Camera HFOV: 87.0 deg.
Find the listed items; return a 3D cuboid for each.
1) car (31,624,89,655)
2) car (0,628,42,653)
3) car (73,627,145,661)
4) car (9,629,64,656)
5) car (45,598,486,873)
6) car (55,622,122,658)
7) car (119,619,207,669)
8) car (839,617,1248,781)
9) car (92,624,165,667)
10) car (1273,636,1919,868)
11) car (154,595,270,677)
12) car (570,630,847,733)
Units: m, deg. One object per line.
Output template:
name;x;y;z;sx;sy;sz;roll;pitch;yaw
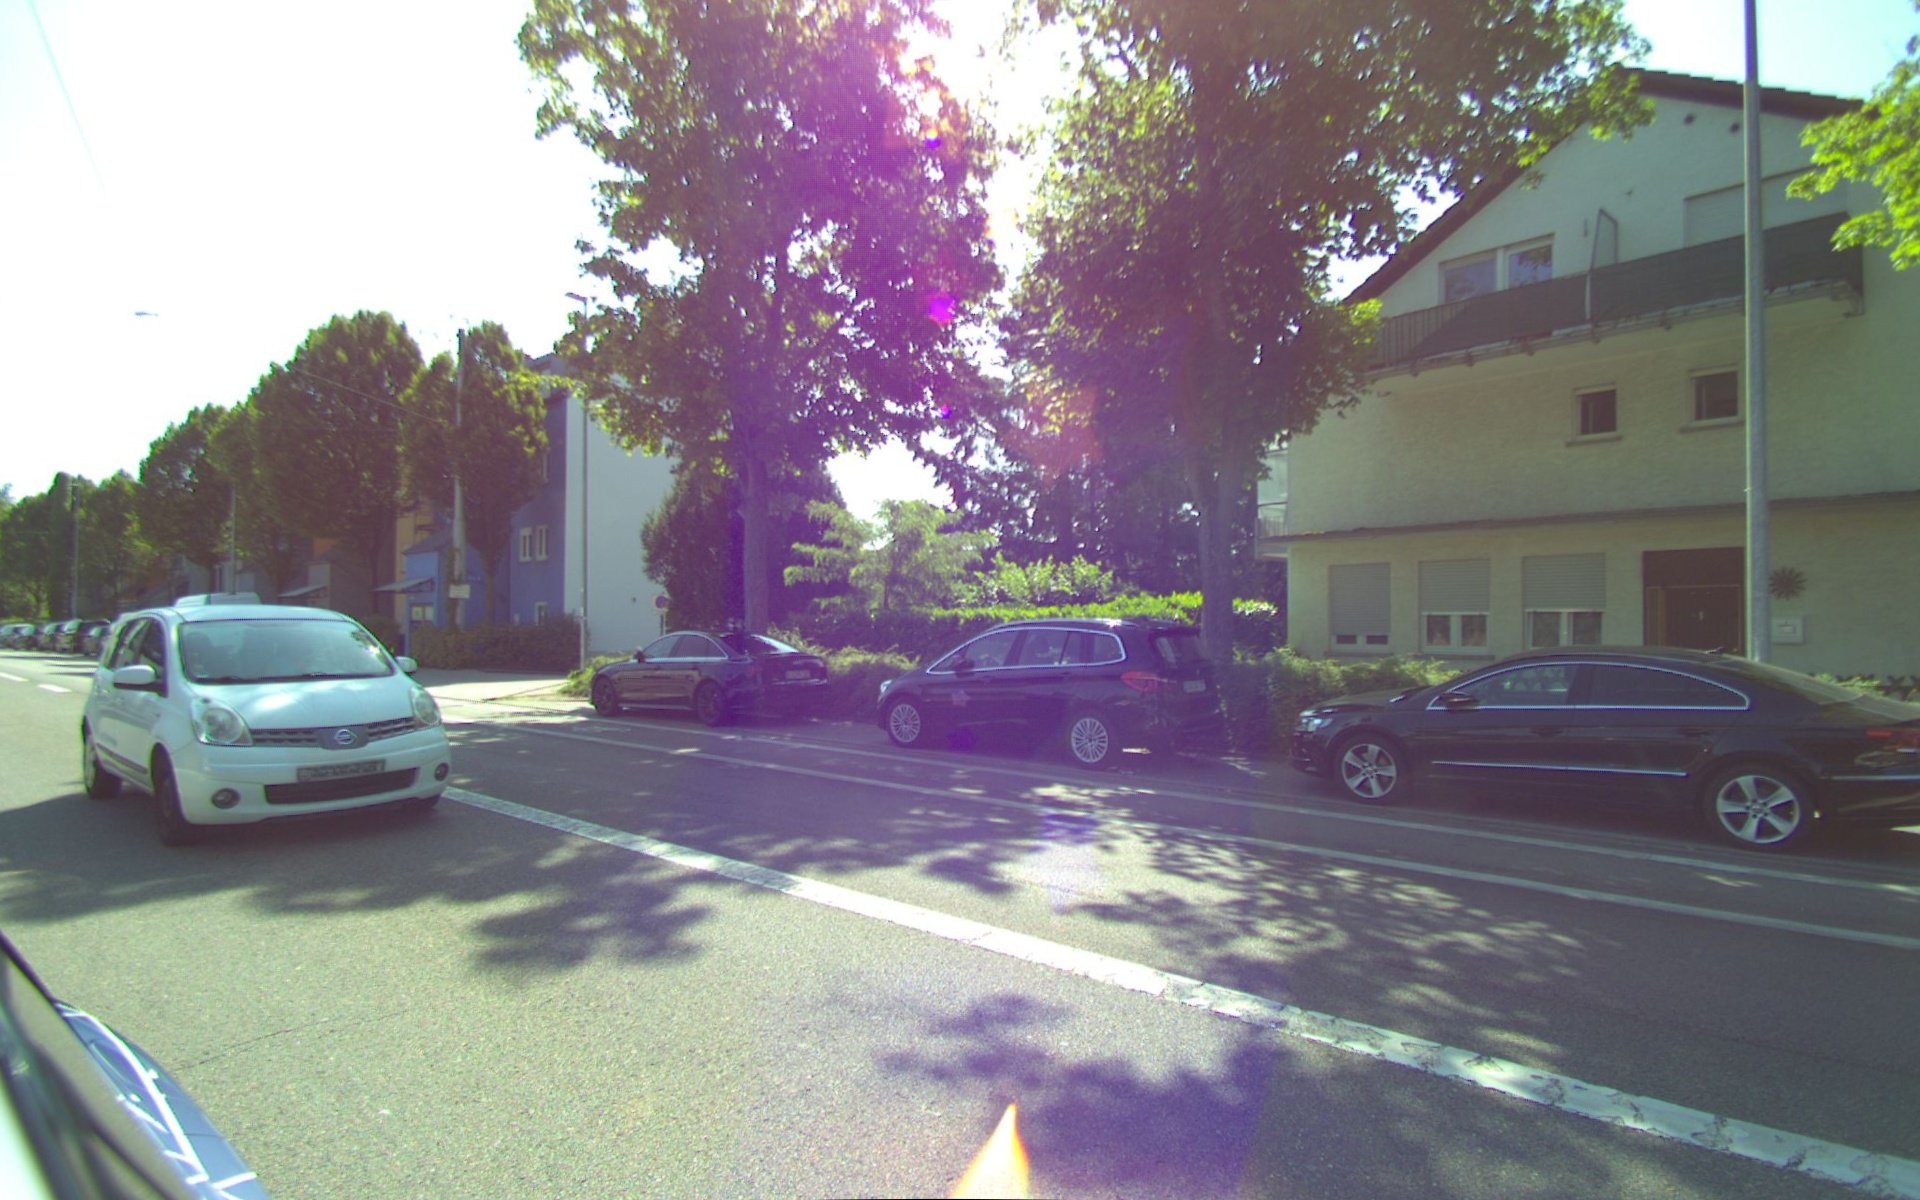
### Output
car;-49.894;2.138;56.073;4.159;1.619;1.661;-1;-1;37
car;-60.056;2.526;64.189;4.826;1.457;1.663;-1;-1;35
car;-41.787;2.120;49.665;4.069;1.466;1.849;-1;1;37
car;-54.769;2.489;60.013;4.206;1.481;1.662;-1;-1;37
car;-5.571;0.809;7.876;4.391;1.559;1.762;-1;-1;40
car;-45.774;2.082;53.138;4.343;1.741;1.812;-1;0;38
car;-33.657;1.812;42.697;4.964;1.879;1.973;-1;2;41
car;0.816;1.041;12.300;4.891;1.618;1.743;-1;-2;41
car;-37.945;2.027;46.135;4.539;1.715;1.829;-1;2;42
car;5.219;1.036;8.328;4.779;1.390;1.673;-2;0;41
car;-27.667;1.276;37.306;7.084;2.697;1.973;-2;1;42
car;-4.261;1.232;16.724;4.903;1.477;1.822;-1;-2;38
